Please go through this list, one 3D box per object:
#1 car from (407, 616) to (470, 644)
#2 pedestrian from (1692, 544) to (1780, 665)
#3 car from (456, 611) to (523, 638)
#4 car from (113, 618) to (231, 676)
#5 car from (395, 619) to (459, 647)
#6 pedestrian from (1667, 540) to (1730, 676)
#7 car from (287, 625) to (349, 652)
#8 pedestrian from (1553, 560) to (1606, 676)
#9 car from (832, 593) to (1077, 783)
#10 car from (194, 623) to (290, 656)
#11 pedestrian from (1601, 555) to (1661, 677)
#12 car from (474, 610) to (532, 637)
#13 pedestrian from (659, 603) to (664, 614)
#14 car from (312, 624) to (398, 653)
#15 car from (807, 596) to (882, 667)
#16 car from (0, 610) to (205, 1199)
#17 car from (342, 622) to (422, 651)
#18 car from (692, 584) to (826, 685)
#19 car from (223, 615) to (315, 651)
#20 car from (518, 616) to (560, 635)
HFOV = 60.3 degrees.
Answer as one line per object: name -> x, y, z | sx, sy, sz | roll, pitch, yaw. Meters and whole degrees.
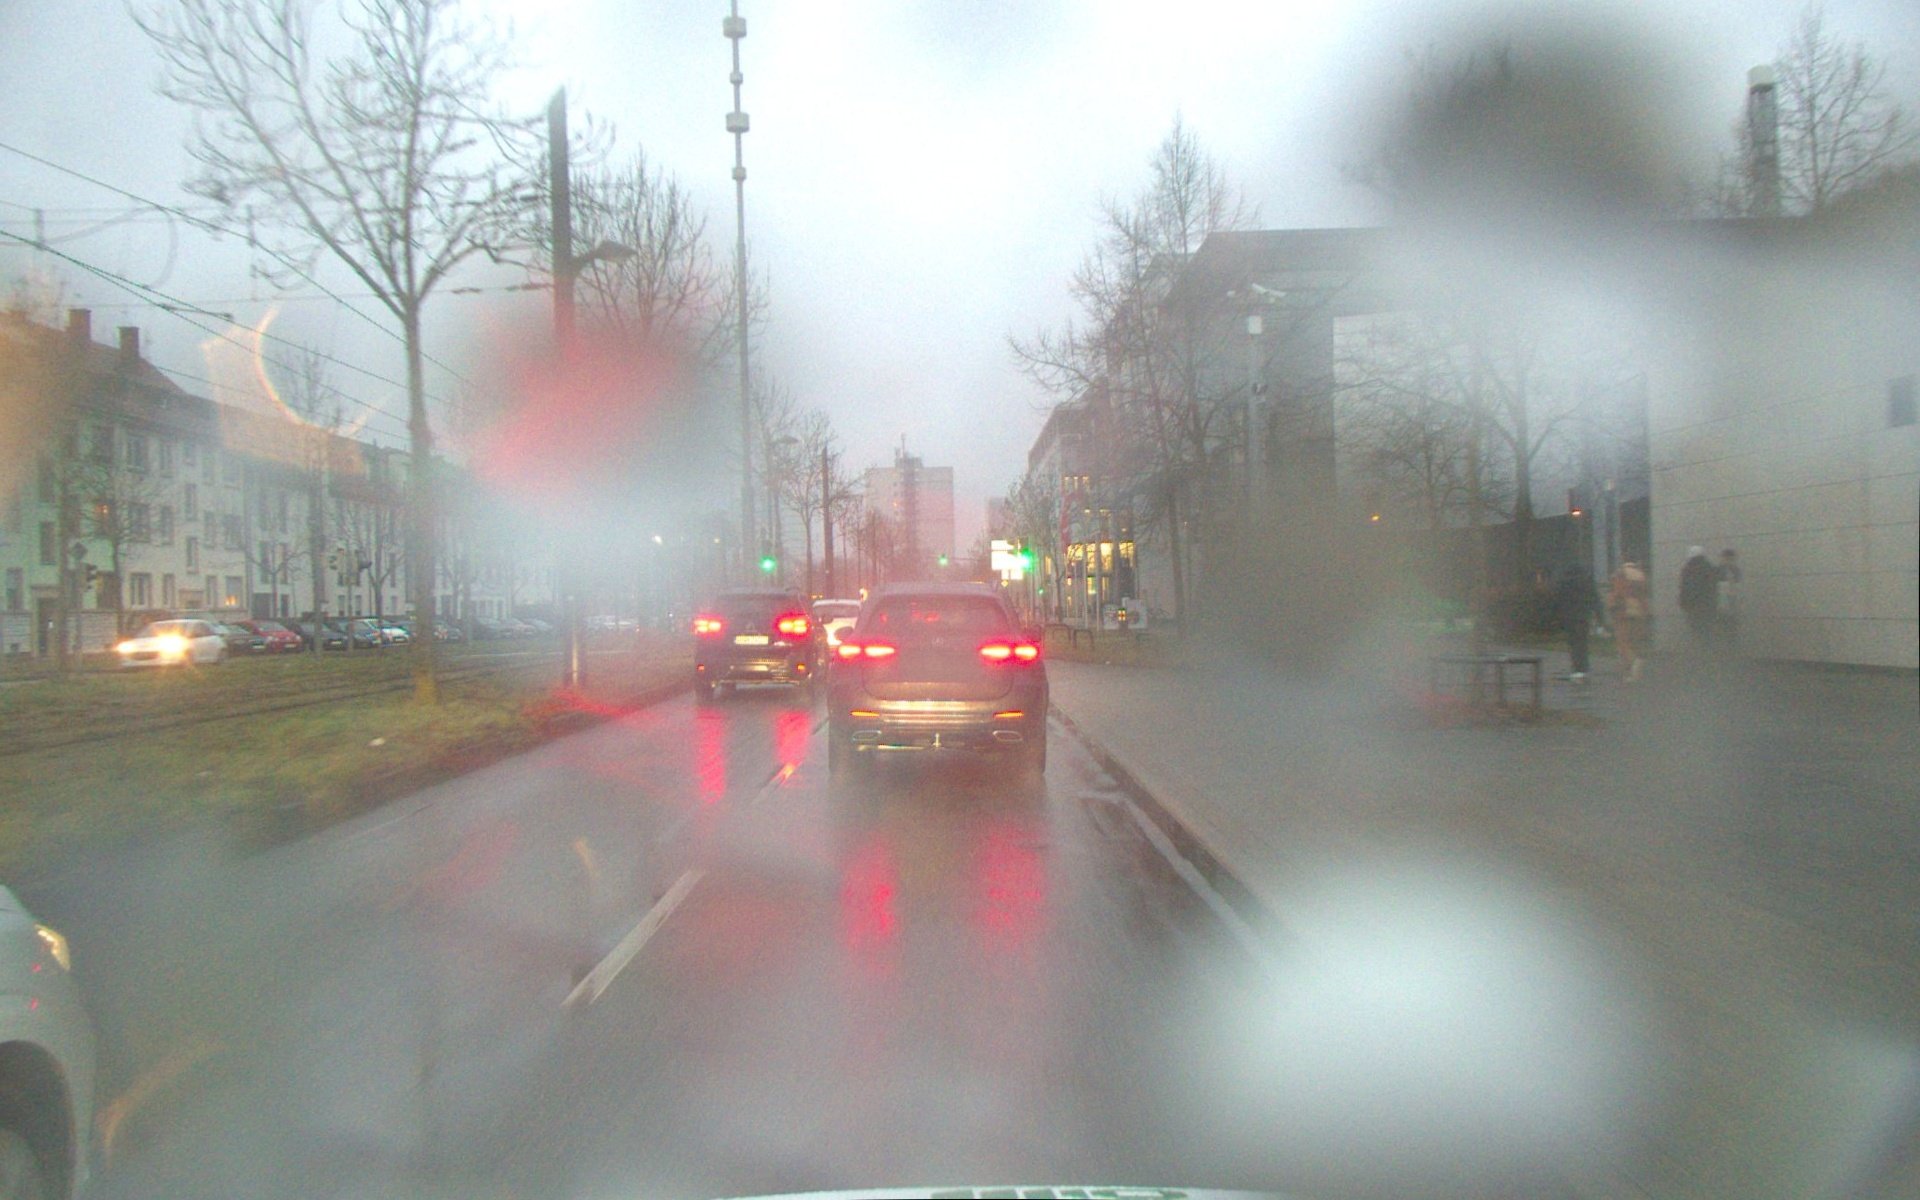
car -> -28.002, 1.621, 88.718 | 3.320, 1.446, 1.662 | 0, 0, 38
pedestrian -> 11.110, 0.069, 23.699 | 0.654, 1.684, 0.993 | -2, -1, -6
car -> -27.991, 1.439, 98.355 | 4.079, 1.568, 1.664 | 0, 0, 36
car -> -22.179, 1.299, 46.702 | 1.514, 1.530, 3.783 | 0, 0, 0
car -> -27.636, 1.700, 85.760 | 2.874, 1.359, 1.733 | 0, 0, 32
pedestrian -> 9.987, 0.106, 22.385 | 0.658, 1.809, 0.615 | 0, 0, 13
car -> -27.948, 1.666, 72.013 | 2.341, 1.067, 1.433 | 0, 1, 32
pedestrian -> 9.015, 0.258, 24.072 | 0.658, 1.653, 0.615 | 0, 0, 15
car -> -0.070, 0.720, 15.034 | 1.953, 1.509, 3.699 | 0, -1, -1
car -> -27.511, 1.498, 63.358 | 3.496, 1.161, 1.732 | 0, 0, 32
pedestrian -> 9.139, 0.215, 22.540 | 0.658, 1.640, 0.615 | 0, 0, 13
car -> -28.732, 1.454, 104.043 | 3.779, 1.616, 1.732 | 0, 0, 41
pedestrian -> -31.099, 0.885, 172.267 | 0.343, 1.205, 0.427 | 1, -1, -41
car -> -27.404, 1.728, 74.917 | 3.740, 1.193, 1.733 | 0, 0, 32
car -> -2.791, 0.752, 40.643 | 1.655, 1.664, 3.473 | 0, 0, -1
car -> -2.511, 0.766, 1.724 | 1.654, 1.500, 4.000 | 0, 0, -1
car -> -27.490, 1.708, 78.635 | 3.766, 1.267, 1.731 | 0, 0, 35
car -> -3.085, 0.511, 26.086 | 1.781, 1.476, 3.998 | 0, 0, -3
car -> -27.542, 1.296, 65.920 | 3.504, 1.332, 1.682 | 0, 0, 32
car -> -28.421, 1.701, 111.631 | 2.835, 1.225, 1.381 | 0, 0, 41
